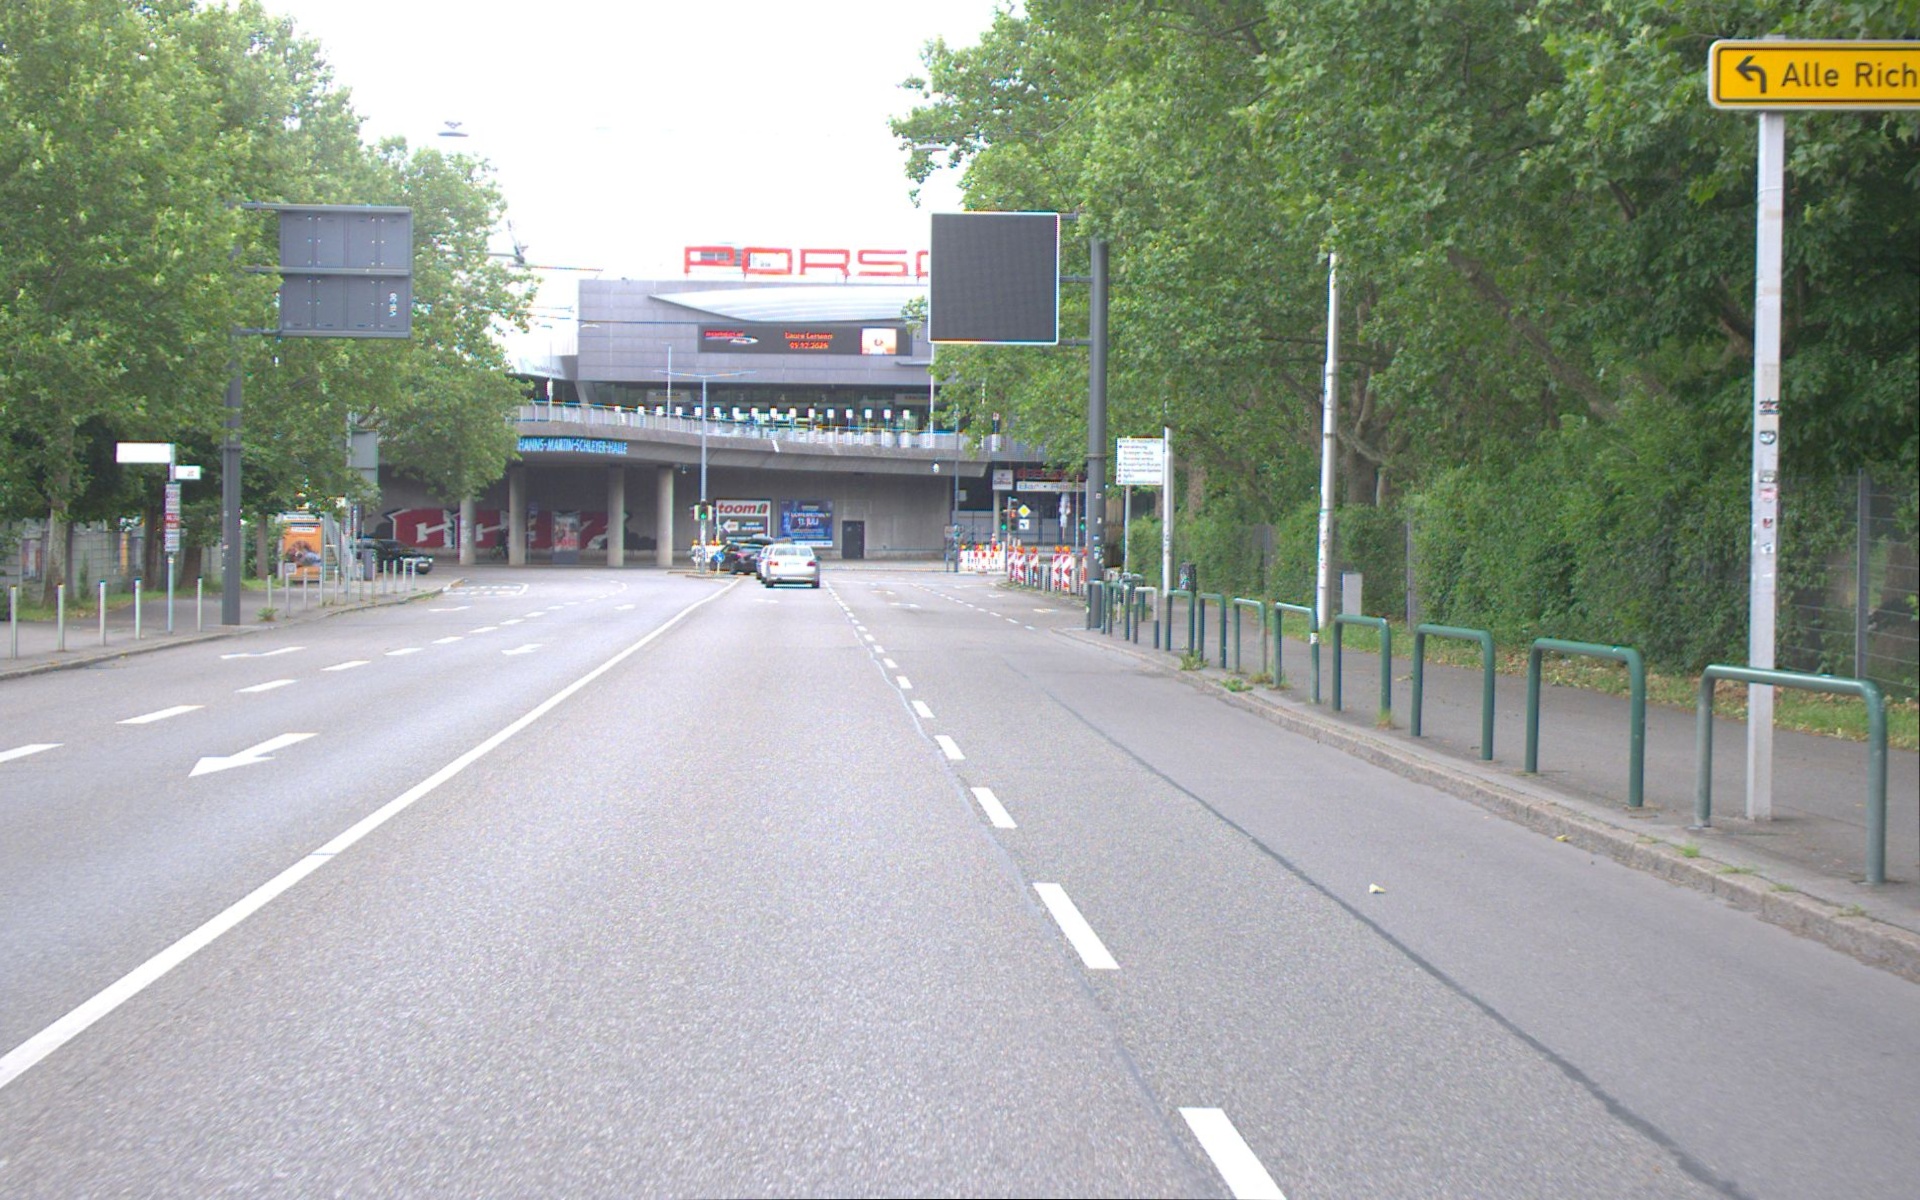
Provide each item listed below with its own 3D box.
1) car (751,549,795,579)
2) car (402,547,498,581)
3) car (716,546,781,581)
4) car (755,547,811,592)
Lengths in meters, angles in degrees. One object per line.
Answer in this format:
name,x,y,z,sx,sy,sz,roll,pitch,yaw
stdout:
car,-7.560,-1.455,138.744,1.411,1.109,3.039,2,1,-9
car,-21.420,-1.516,144.345,3.575,1.268,1.660,3,1,19
car,-9.355,-1.626,151.792,1.993,1.481,4.001,1,1,-17
car,-6.017,-1.055,117.227,1.778,1.455,3.822,2,1,-2
